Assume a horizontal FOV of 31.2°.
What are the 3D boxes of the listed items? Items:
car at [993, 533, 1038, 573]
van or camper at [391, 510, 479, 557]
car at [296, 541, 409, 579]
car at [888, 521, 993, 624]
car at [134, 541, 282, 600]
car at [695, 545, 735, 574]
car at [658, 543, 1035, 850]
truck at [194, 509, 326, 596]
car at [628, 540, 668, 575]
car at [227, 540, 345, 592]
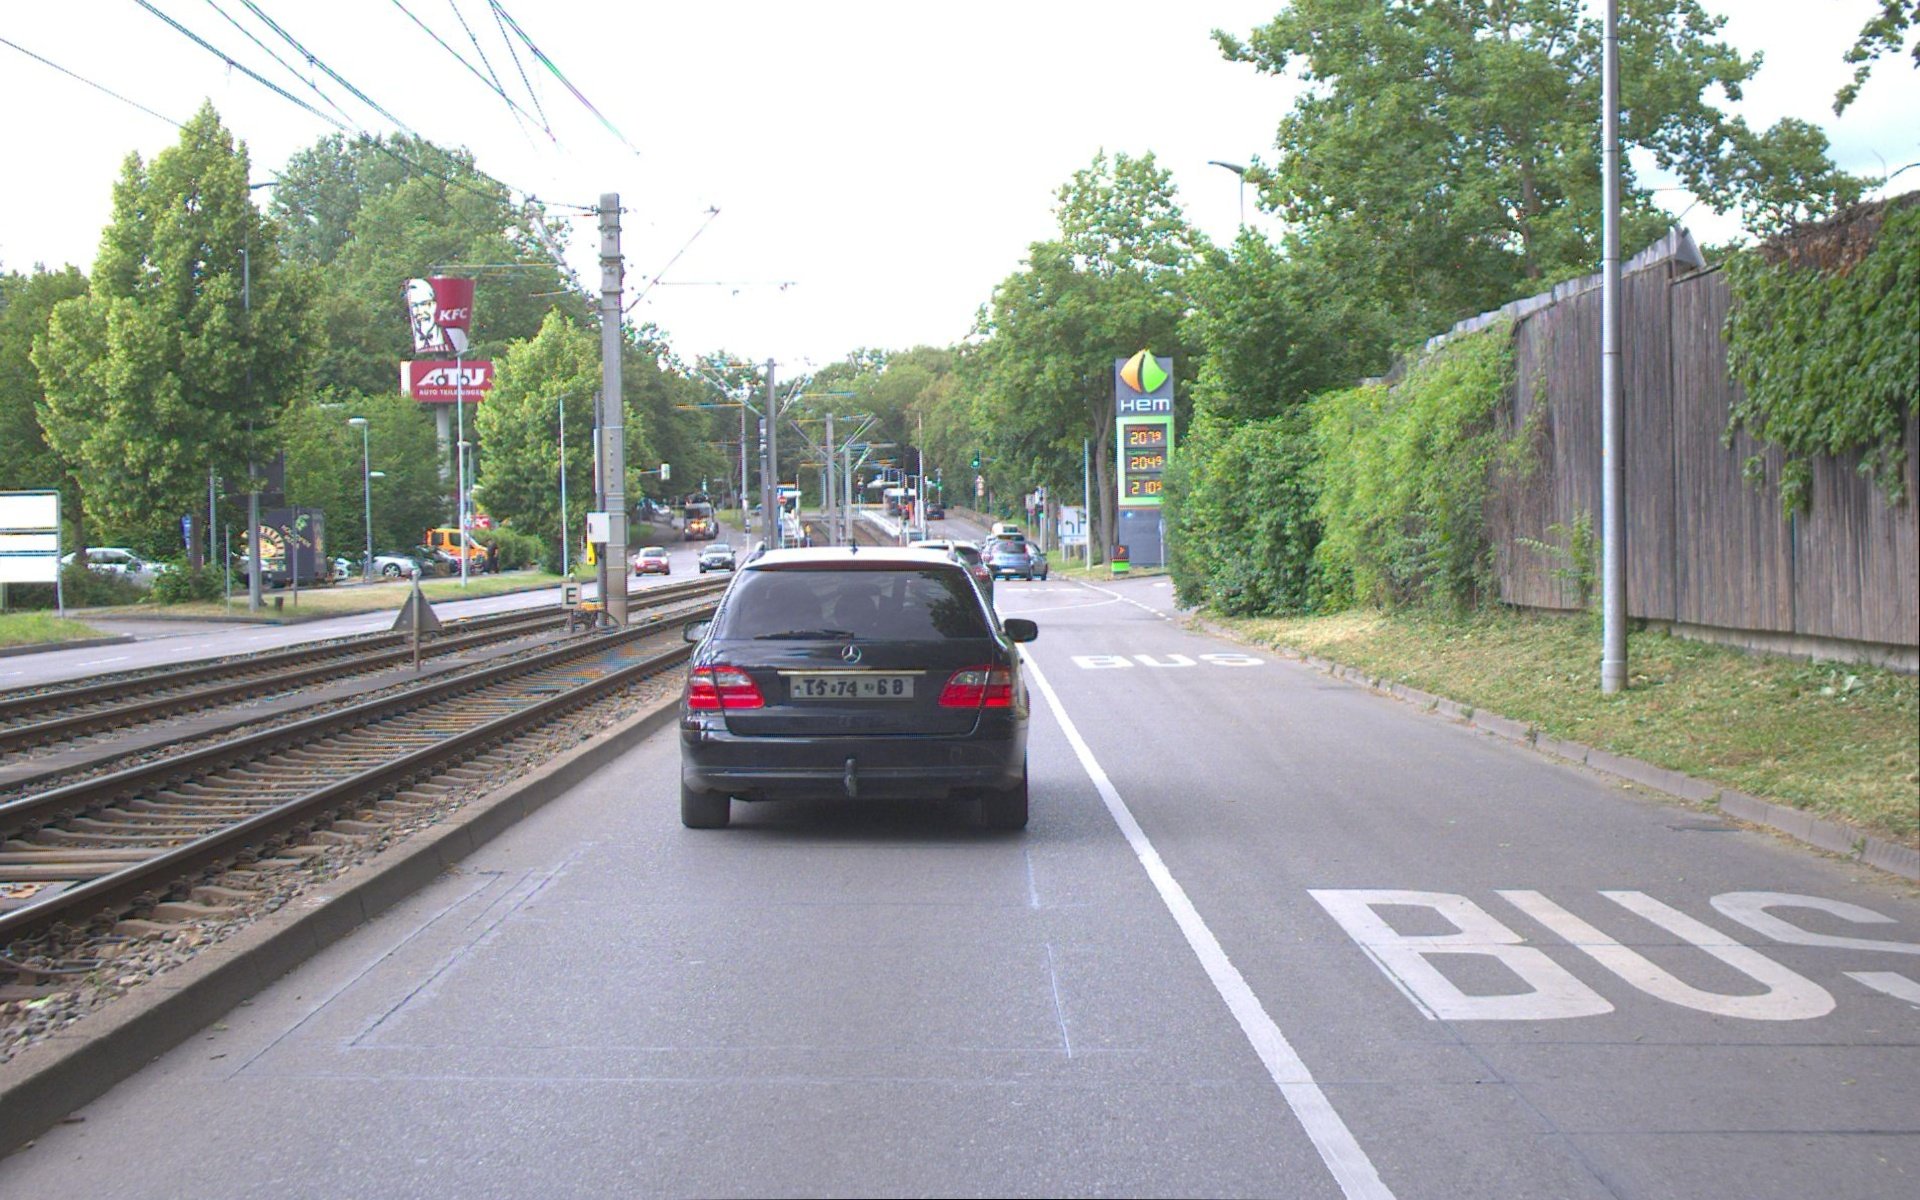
[{"bbox_3d":[2.057,-1.726,127.496,1.571,1.410,3.354,1,0,0],"label":"car"},{"bbox_3d":[-25.328,-3.213,165.929,3.986,2.127,1.878,-1,1,-4],"label":"van or camper"},{"bbox_3d":[-24.586,-1.631,139.282,4.306,1.467,1.680,-1,1,-2],"label":"car"},{"bbox_3d":[-0.340,-0.483,60.770,1.780,1.744,3.718,1,0,0],"label":"car"},{"bbox_3d":[-23.559,-0.934,107.795,4.220,1.721,1.996,-1,1,-2],"label":"car"},{"bbox_3d":[-12.748,-2.110,179.051,1.759,1.396,4.444,-3,1,-1],"label":"car"},{"bbox_3d":[-0.551,0.434,18.526,1.808,1.469,3.881,0,1,0],"label":"car"},{"bbox_3d":[-23.729,-1.618,116.700,3.986,2.812,2.376,-1,1,-2],"label":"truck"},{"bbox_3d":[-16.184,-2.204,178.403,1.792,1.766,4.000,-1,1,-2],"label":"car"},{"bbox_3d":[-24.676,-1.263,125.935,3.986,1.791,1.878,-1,1,-4],"label":"car"}]
